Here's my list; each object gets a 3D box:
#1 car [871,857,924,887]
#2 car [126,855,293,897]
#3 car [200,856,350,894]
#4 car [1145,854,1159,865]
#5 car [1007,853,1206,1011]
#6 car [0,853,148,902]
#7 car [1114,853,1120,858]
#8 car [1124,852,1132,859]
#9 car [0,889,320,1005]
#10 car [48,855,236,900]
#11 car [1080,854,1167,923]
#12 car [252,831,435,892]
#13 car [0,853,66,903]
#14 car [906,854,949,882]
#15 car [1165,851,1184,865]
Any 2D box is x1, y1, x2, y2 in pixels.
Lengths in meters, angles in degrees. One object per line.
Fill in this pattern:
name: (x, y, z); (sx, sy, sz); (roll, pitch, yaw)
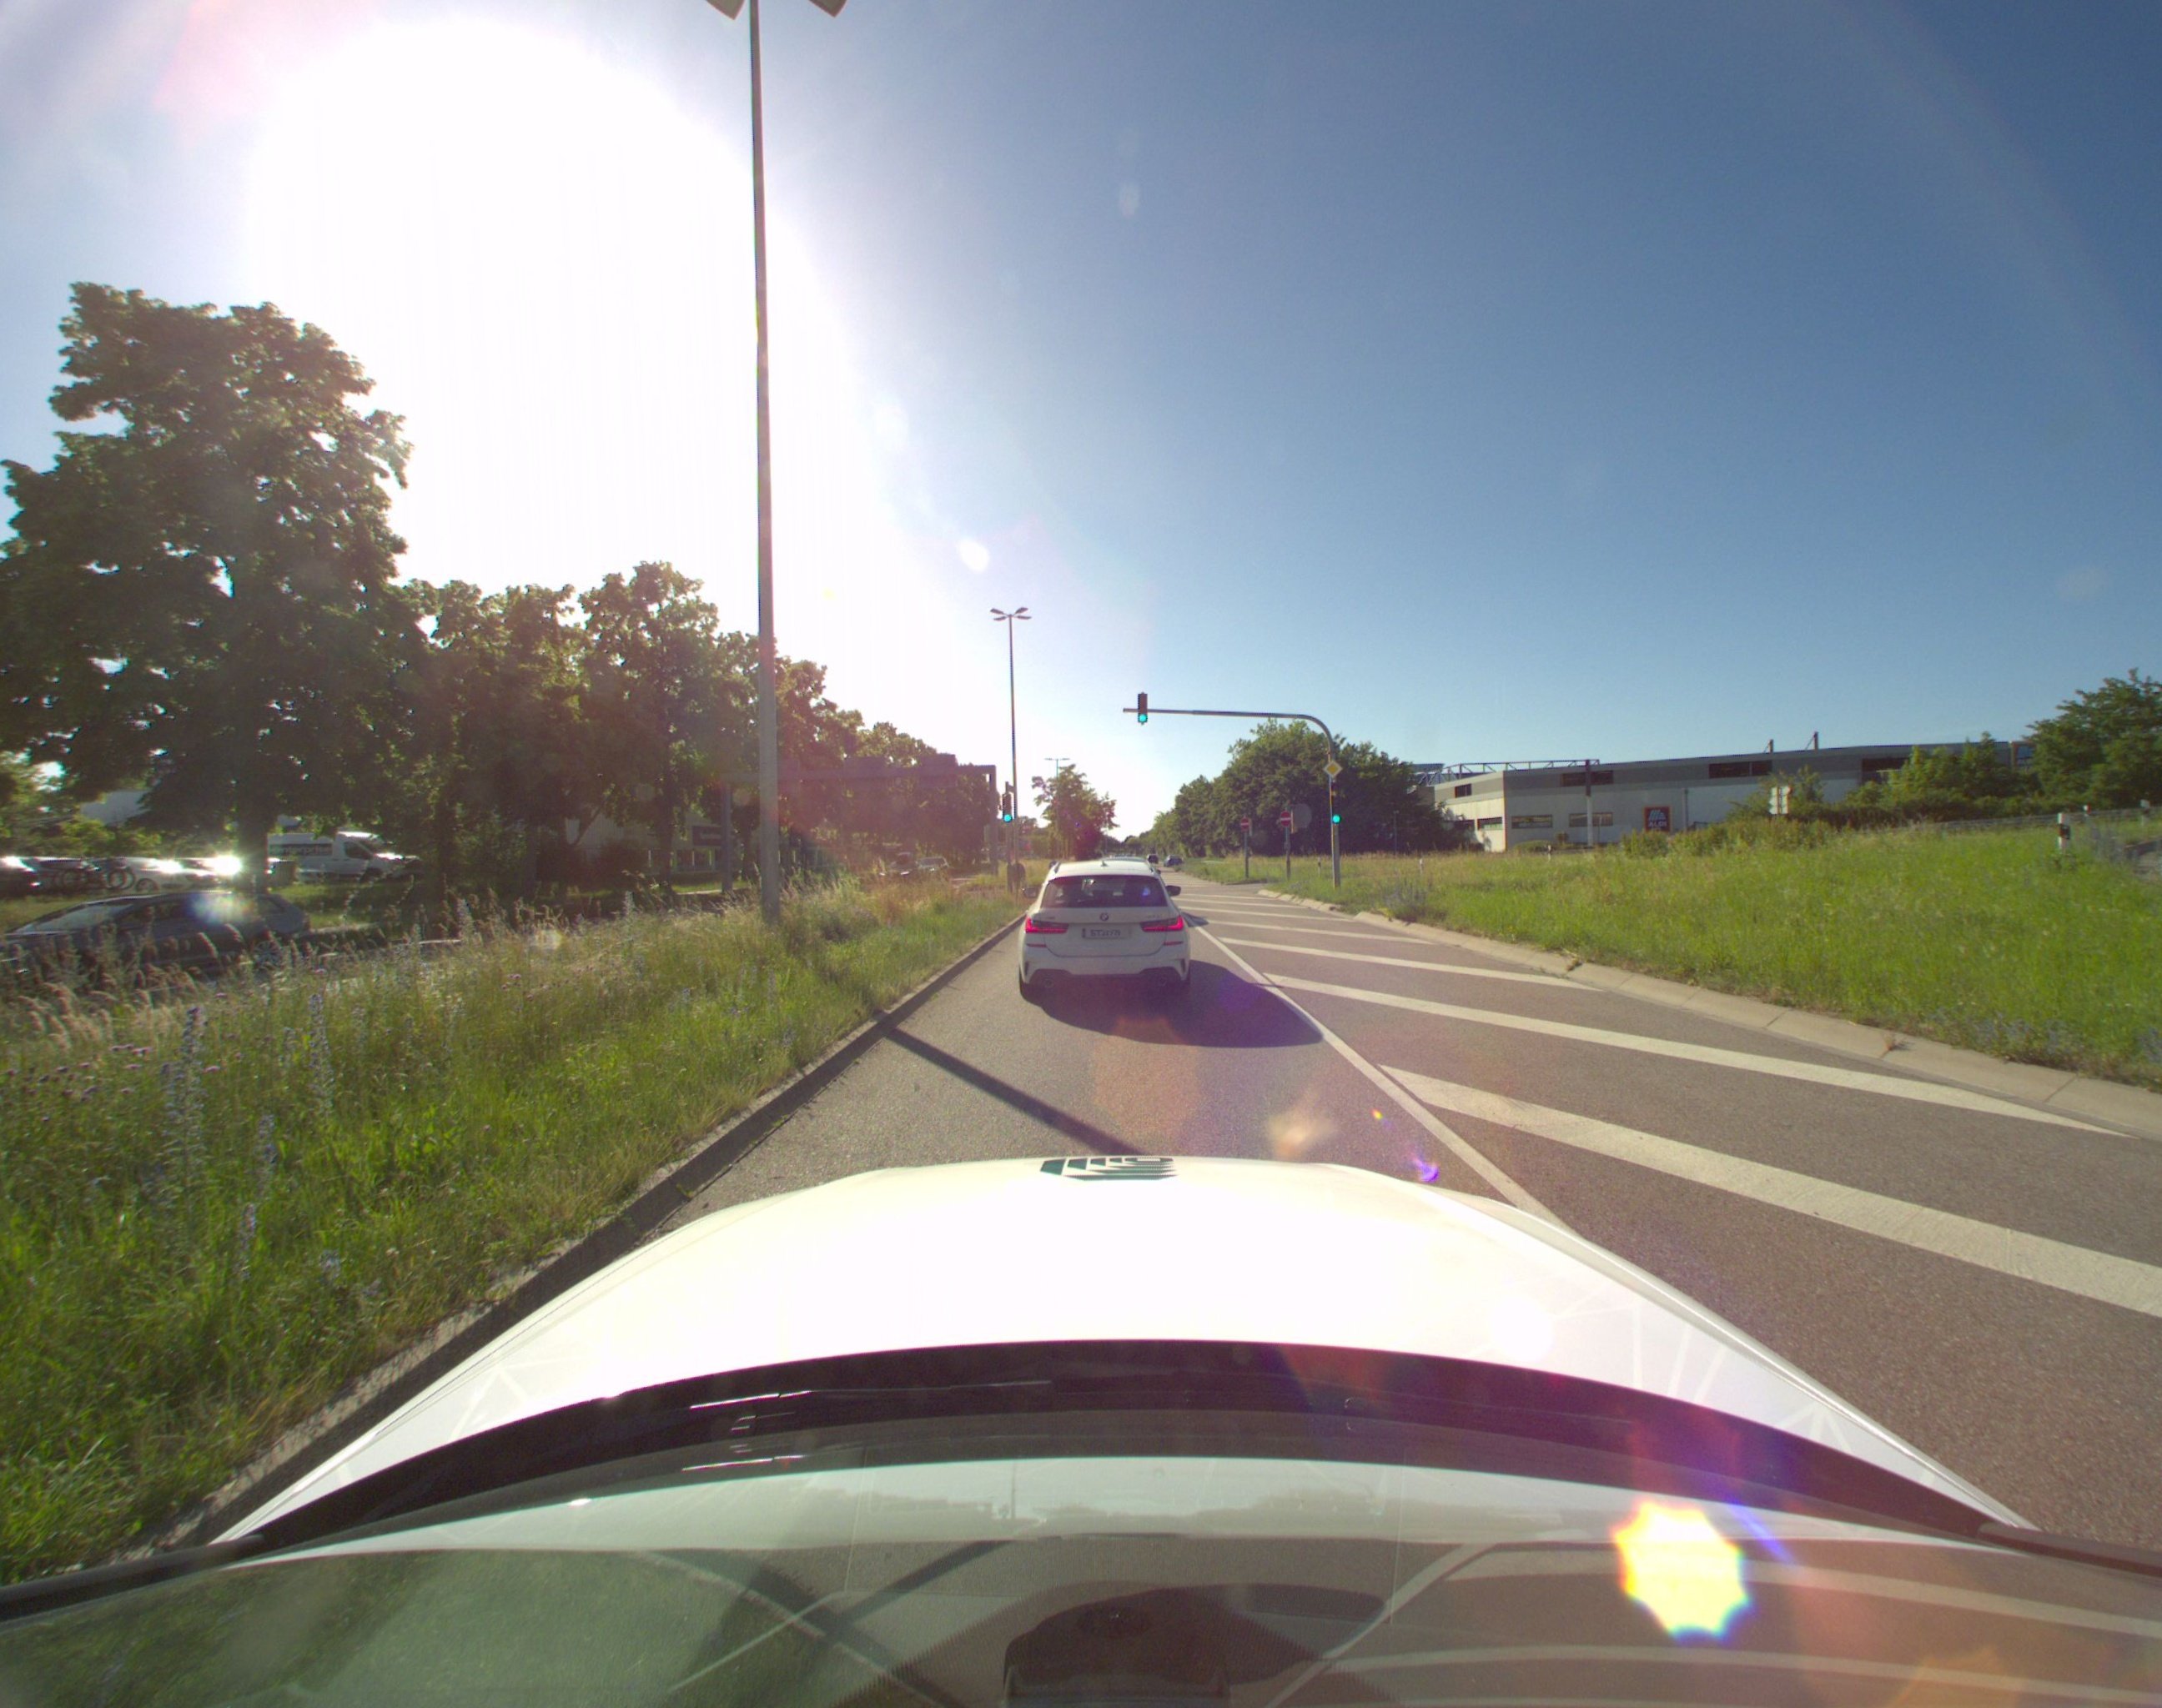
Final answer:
car: (-10.774, 1.015, 48.210); (1.869, 1.542, 4.575); (-3, 0, 2)
car: (-32.921, 0.817, 30.867); (4.107, 1.388, 1.945); (-2, 0, -2)
car: (-33.054, 0.843, 33.483); (4.107, 1.388, 1.945); (-2, 0, -2)
car: (10.892, 0.840, 125.558); (1.765, 1.555, 3.833); (-2, 0, 1)
car: (0.344, 0.741, 10.043); (1.854, 1.455, 4.550); (-2, 0, 2)
car: (-32.643, 0.752, 25.518); (4.601, 1.388, 1.948); (-2, 0, 2)
car: (10.682, 0.472, 243.206); (1.854, 1.565, 4.549); (-2, 0, 2)
car: (11.324, 0.380, 197.428); (1.854, 1.565, 4.549); (-2, 0, 2)
car: (-15.680, 1.427, 13.477); (1.772, 1.425, 4.387); (-3, 0, 4)
car: (-32.519, 0.790, 28.302); (4.107, 1.388, 1.945); (-2, 0, -2)
car: (1.014, 0.751, 20.203); (1.854, 1.455, 4.549); (-2, 0, 2)
car: (-32.537, 0.322, 36.071); (5.861, 2.433, 2.205); (-2, 0, -2)
car: (-32.289, 0.734, 23.218); (4.107, 1.388, 1.945); (-2, 0, -2)
car: (-10.644, 0.939, 56.820); (1.935, 1.697, 4.632); (-3, 0, 2)
car: (10.709, 0.421, 93.720); (1.854, 1.499, 4.338); (-1, 0, 2)
